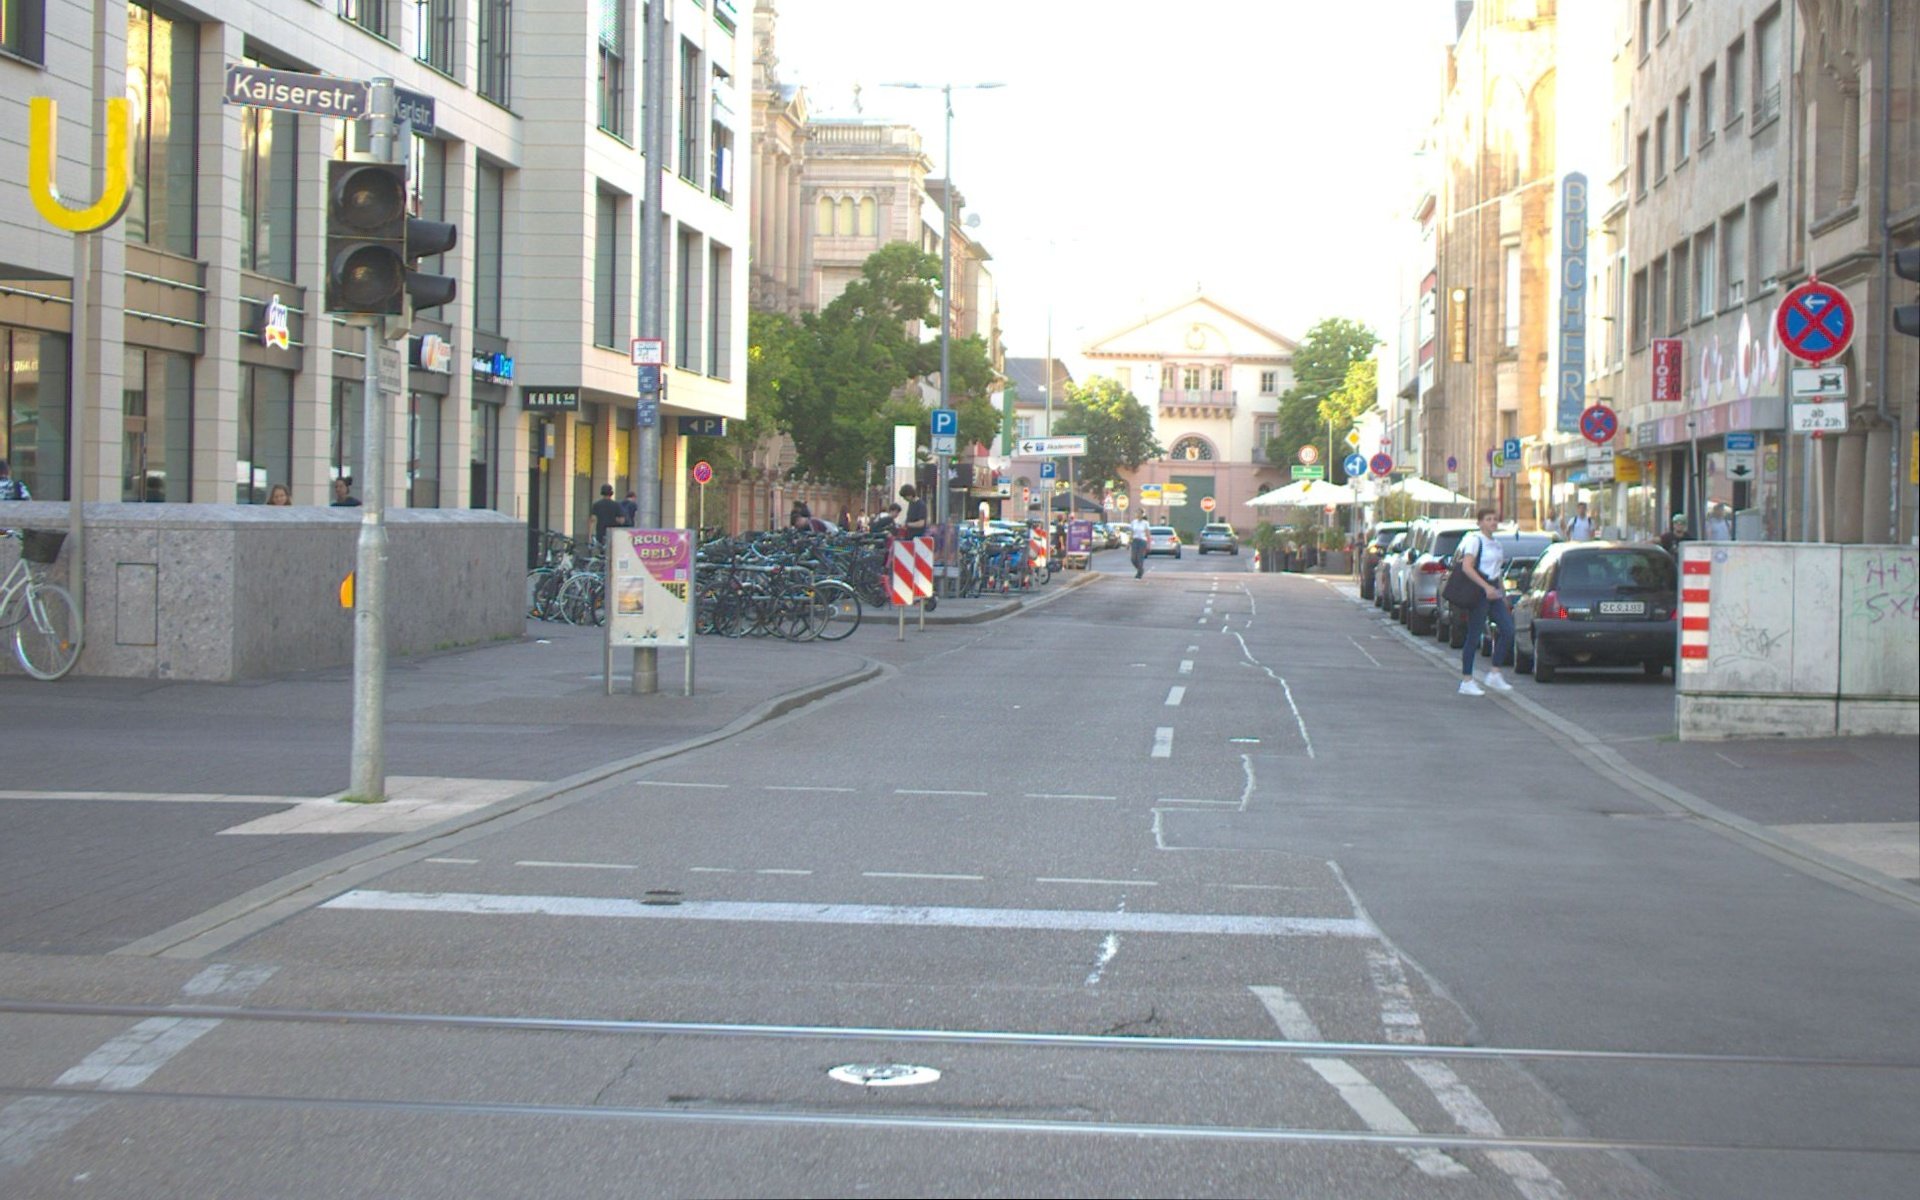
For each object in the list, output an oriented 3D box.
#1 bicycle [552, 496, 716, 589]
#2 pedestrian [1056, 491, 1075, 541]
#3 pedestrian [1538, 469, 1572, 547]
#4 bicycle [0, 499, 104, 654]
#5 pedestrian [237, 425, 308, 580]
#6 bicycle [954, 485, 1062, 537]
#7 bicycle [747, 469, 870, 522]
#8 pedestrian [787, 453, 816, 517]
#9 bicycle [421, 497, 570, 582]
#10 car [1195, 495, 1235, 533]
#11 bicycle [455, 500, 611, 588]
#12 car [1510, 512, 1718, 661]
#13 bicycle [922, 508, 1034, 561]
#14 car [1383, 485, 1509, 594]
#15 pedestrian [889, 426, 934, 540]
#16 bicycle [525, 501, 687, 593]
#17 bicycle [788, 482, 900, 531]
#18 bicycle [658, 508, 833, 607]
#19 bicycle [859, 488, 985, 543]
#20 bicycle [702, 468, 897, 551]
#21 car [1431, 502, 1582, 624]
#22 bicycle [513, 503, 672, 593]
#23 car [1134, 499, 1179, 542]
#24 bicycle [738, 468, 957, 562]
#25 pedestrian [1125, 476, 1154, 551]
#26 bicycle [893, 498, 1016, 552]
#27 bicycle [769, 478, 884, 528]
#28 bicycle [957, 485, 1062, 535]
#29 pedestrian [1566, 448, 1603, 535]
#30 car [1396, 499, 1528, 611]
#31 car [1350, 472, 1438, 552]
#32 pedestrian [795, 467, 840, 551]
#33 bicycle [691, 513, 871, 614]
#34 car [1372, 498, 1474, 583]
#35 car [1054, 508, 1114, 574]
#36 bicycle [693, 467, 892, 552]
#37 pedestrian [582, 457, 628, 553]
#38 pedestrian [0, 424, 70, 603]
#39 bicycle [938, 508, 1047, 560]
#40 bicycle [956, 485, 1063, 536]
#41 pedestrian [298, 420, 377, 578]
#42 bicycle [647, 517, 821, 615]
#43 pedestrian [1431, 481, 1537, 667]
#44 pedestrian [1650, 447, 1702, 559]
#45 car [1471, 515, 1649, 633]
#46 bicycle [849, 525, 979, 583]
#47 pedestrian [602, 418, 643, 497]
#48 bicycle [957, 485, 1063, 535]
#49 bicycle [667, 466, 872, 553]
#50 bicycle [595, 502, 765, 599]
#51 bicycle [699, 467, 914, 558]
[{"bbox_3d":[-4.124,-0.724,43.551,1.967,1.118,0.558,1,2,-24],"label":"bicycle"},{"bbox_3d":[3.138,-2.513,102.383,0.549,1.481,0.565,1,2,3],"label":"pedestrian"},{"bbox_3d":[13.380,-2.077,77.317,0.644,1.740,0.671,0,2,3],"label":"pedestrian"},{"bbox_3d":[-7.336,-0.199,25.806,1.696,1.118,0.451,2,2,7],"label":"bicycle"},{"bbox_3d":[-7.437,-1.056,37.193,0.600,1.640,0.546,2,2,2],"label":"pedestrian"},{"bbox_3d":[0.978,-1.822,70.217,2.149,1.026,0.640,1,2,7],"label":"bicycle"},{"bbox_3d":[-2.746,-1.896,62.306,2.149,0.950,0.640,1,2,7],"label":"bicycle"},{"bbox_3d":[-4.047,-2.937,87.751,0.680,1.615,0.573,1,2,4],"label":"pedestrian"},{"bbox_3d":[-6.498,-0.845,48.130,1.967,1.118,0.558,1,2,-24],"label":"bicycle"},{"bbox_3d":[13.419,-4.525,180.891,1.994,1.897,4.000,2,2,4],"label":"car"},{"bbox_3d":[-5.741,-0.755,46.258,1.967,1.118,0.558,1,2,-24],"label":"bicycle"},{"bbox_3d":[6.691,-0.183,35.481,1.679,1.419,3.673,1,2,4],"label":"car"},{"bbox_3d":[0.359,-1.296,67.957,2.149,1.026,0.640,1,2,7],"label":"bicycle"},{"bbox_3d":[8.181,-1.056,58.132,1.799,1.762,4.397,0,2,4],"label":"car"},{"bbox_3d":[-0.776,-1.870,55.054,0.657,1.817,0.528,0,2,-6],"label":"pedestrian"},{"bbox_3d":[-4.541,-0.676,44.128,1.967,1.118,0.558,1,2,-24],"label":"bicycle"},{"bbox_3d":[-2.291,-1.856,67.923,2.149,0.950,0.640,1,2,7],"label":"bicycle"},{"bbox_3d":[-2.534,-0.501,40.677,1.967,1.118,0.558,1,2,-24],"label":"bicycle"},{"bbox_3d":[-0.672,-1.495,60.710,2.149,0.950,0.640,1,2,7],"label":"bicycle"},{"bbox_3d":[-2.461,-1.397,52.783,2.886,1.250,0.804,0,2,-21],"label":"bicycle"},{"bbox_3d":[7.279,-0.525,46.022,1.679,1.542,3.673,0,2,4],"label":"car"},{"bbox_3d":[-4.821,-0.685,45.130,1.967,1.118,0.558,1,2,-24],"label":"bicycle"},{"bbox_3d":[9.246,-3.750,161.683,1.994,1.897,4.000,2,2,4],"label":"car"},{"bbox_3d":[-1.537,-1.165,46.968,2.886,1.250,0.804,0,2,-21],"label":"bicycle"},{"bbox_3d":[4.391,-2.118,84.106,0.599,1.817,0.452,1,2,14],"label":"pedestrian"},{"bbox_3d":[-0.094,-1.364,62.148,2.149,0.950,0.640,1,2,7],"label":"bicycle"},{"bbox_3d":[-2.599,-1.890,67.041,2.149,0.950,0.640,1,2,7],"label":"bicycle"},{"bbox_3d":[1.049,-1.908,72.750,2.149,1.026,0.640,1,2,7],"label":"bicycle"},{"bbox_3d":[12.844,-2.231,70.682,0.644,1.794,0.671,0,2,3],"label":"pedestrian"},{"bbox_3d":[7.585,-0.711,52.212,1.679,1.608,4.028,0,2,4],"label":"car"},{"bbox_3d":[9.333,-1.909,74.089,1.679,1.660,3.673,0,2,4],"label":"car"},{"bbox_3d":[-2.611,-1.670,62.952,0.751,1.524,0.485,1,2,4],"label":"pedestrian"},{"bbox_3d":[-2.065,-0.419,39.724,1.967,1.118,0.558,1,2,-24],"label":"bicycle"},{"bbox_3d":[8.757,-1.158,65.238,1.679,1.542,3.673,0,2,4],"label":"car"},{"bbox_3d":[3.907,-1.875,108.060,1.711,2.006,4.000,1,2,4],"label":"car"},{"bbox_3d":[-2.524,-1.366,51.811,2.886,1.250,0.804,0,2,-21],"label":"bicycle"},{"bbox_3d":[-6.014,-1.609,58.318,0.680,1.615,0.573,1,2,4],"label":"pedestrian"},{"bbox_3d":[-9.339,-0.868,34.153,0.782,1.745,0.600,2,2,2],"label":"pedestrian"},{"bbox_3d":[0.655,-1.338,69.457,2.149,1.026,0.640,1,2,7],"label":"bicycle"},{"bbox_3d":[1.026,-1.847,70.985,2.149,1.026,0.640,1,2,7],"label":"bicycle"},{"bbox_3d":[-6.709,-1.091,37.075,0.681,1.675,0.600,2,2,2],"label":"pedestrian"},{"bbox_3d":[-2.703,-0.405,41.132,1.967,1.118,0.558,1,2,-24],"label":"bicycle"},{"bbox_3d":[4.896,-0.252,32.166,0.834,1.714,0.682,0,2,-3],"label":"pedestrian"},{"bbox_3d":[10.809,-1.469,51.918,0.644,1.684,0.671,0,2,3],"label":"pedestrian"},{"bbox_3d":[7.076,-0.347,40.834,1.679,1.286,4.046,0,2,4],"label":"car"},{"bbox_3d":[-0.779,-0.793,58.842,2.149,0.950,0.640,1,2,7],"label":"bicycle"},{"bbox_3d":[-6.948,-2.937,70.826,0.731,1.615,0.661,1,2,4],"label":"pedestrian"},{"bbox_3d":[1.049,-1.883,72.022,2.149,1.026,0.640,1,2,7],"label":"bicycle"},{"bbox_3d":[-2.792,-1.324,50.356,2.886,1.250,0.804,0,2,-21],"label":"bicycle"},{"bbox_3d":[-3.428,-0.605,42.140,1.967,1.118,0.558,1,2,-24],"label":"bicycle"},{"bbox_3d":[-2.145,-1.225,48.107,2.886,1.250,0.804,0,2,-21],"label":"bicycle"}]
